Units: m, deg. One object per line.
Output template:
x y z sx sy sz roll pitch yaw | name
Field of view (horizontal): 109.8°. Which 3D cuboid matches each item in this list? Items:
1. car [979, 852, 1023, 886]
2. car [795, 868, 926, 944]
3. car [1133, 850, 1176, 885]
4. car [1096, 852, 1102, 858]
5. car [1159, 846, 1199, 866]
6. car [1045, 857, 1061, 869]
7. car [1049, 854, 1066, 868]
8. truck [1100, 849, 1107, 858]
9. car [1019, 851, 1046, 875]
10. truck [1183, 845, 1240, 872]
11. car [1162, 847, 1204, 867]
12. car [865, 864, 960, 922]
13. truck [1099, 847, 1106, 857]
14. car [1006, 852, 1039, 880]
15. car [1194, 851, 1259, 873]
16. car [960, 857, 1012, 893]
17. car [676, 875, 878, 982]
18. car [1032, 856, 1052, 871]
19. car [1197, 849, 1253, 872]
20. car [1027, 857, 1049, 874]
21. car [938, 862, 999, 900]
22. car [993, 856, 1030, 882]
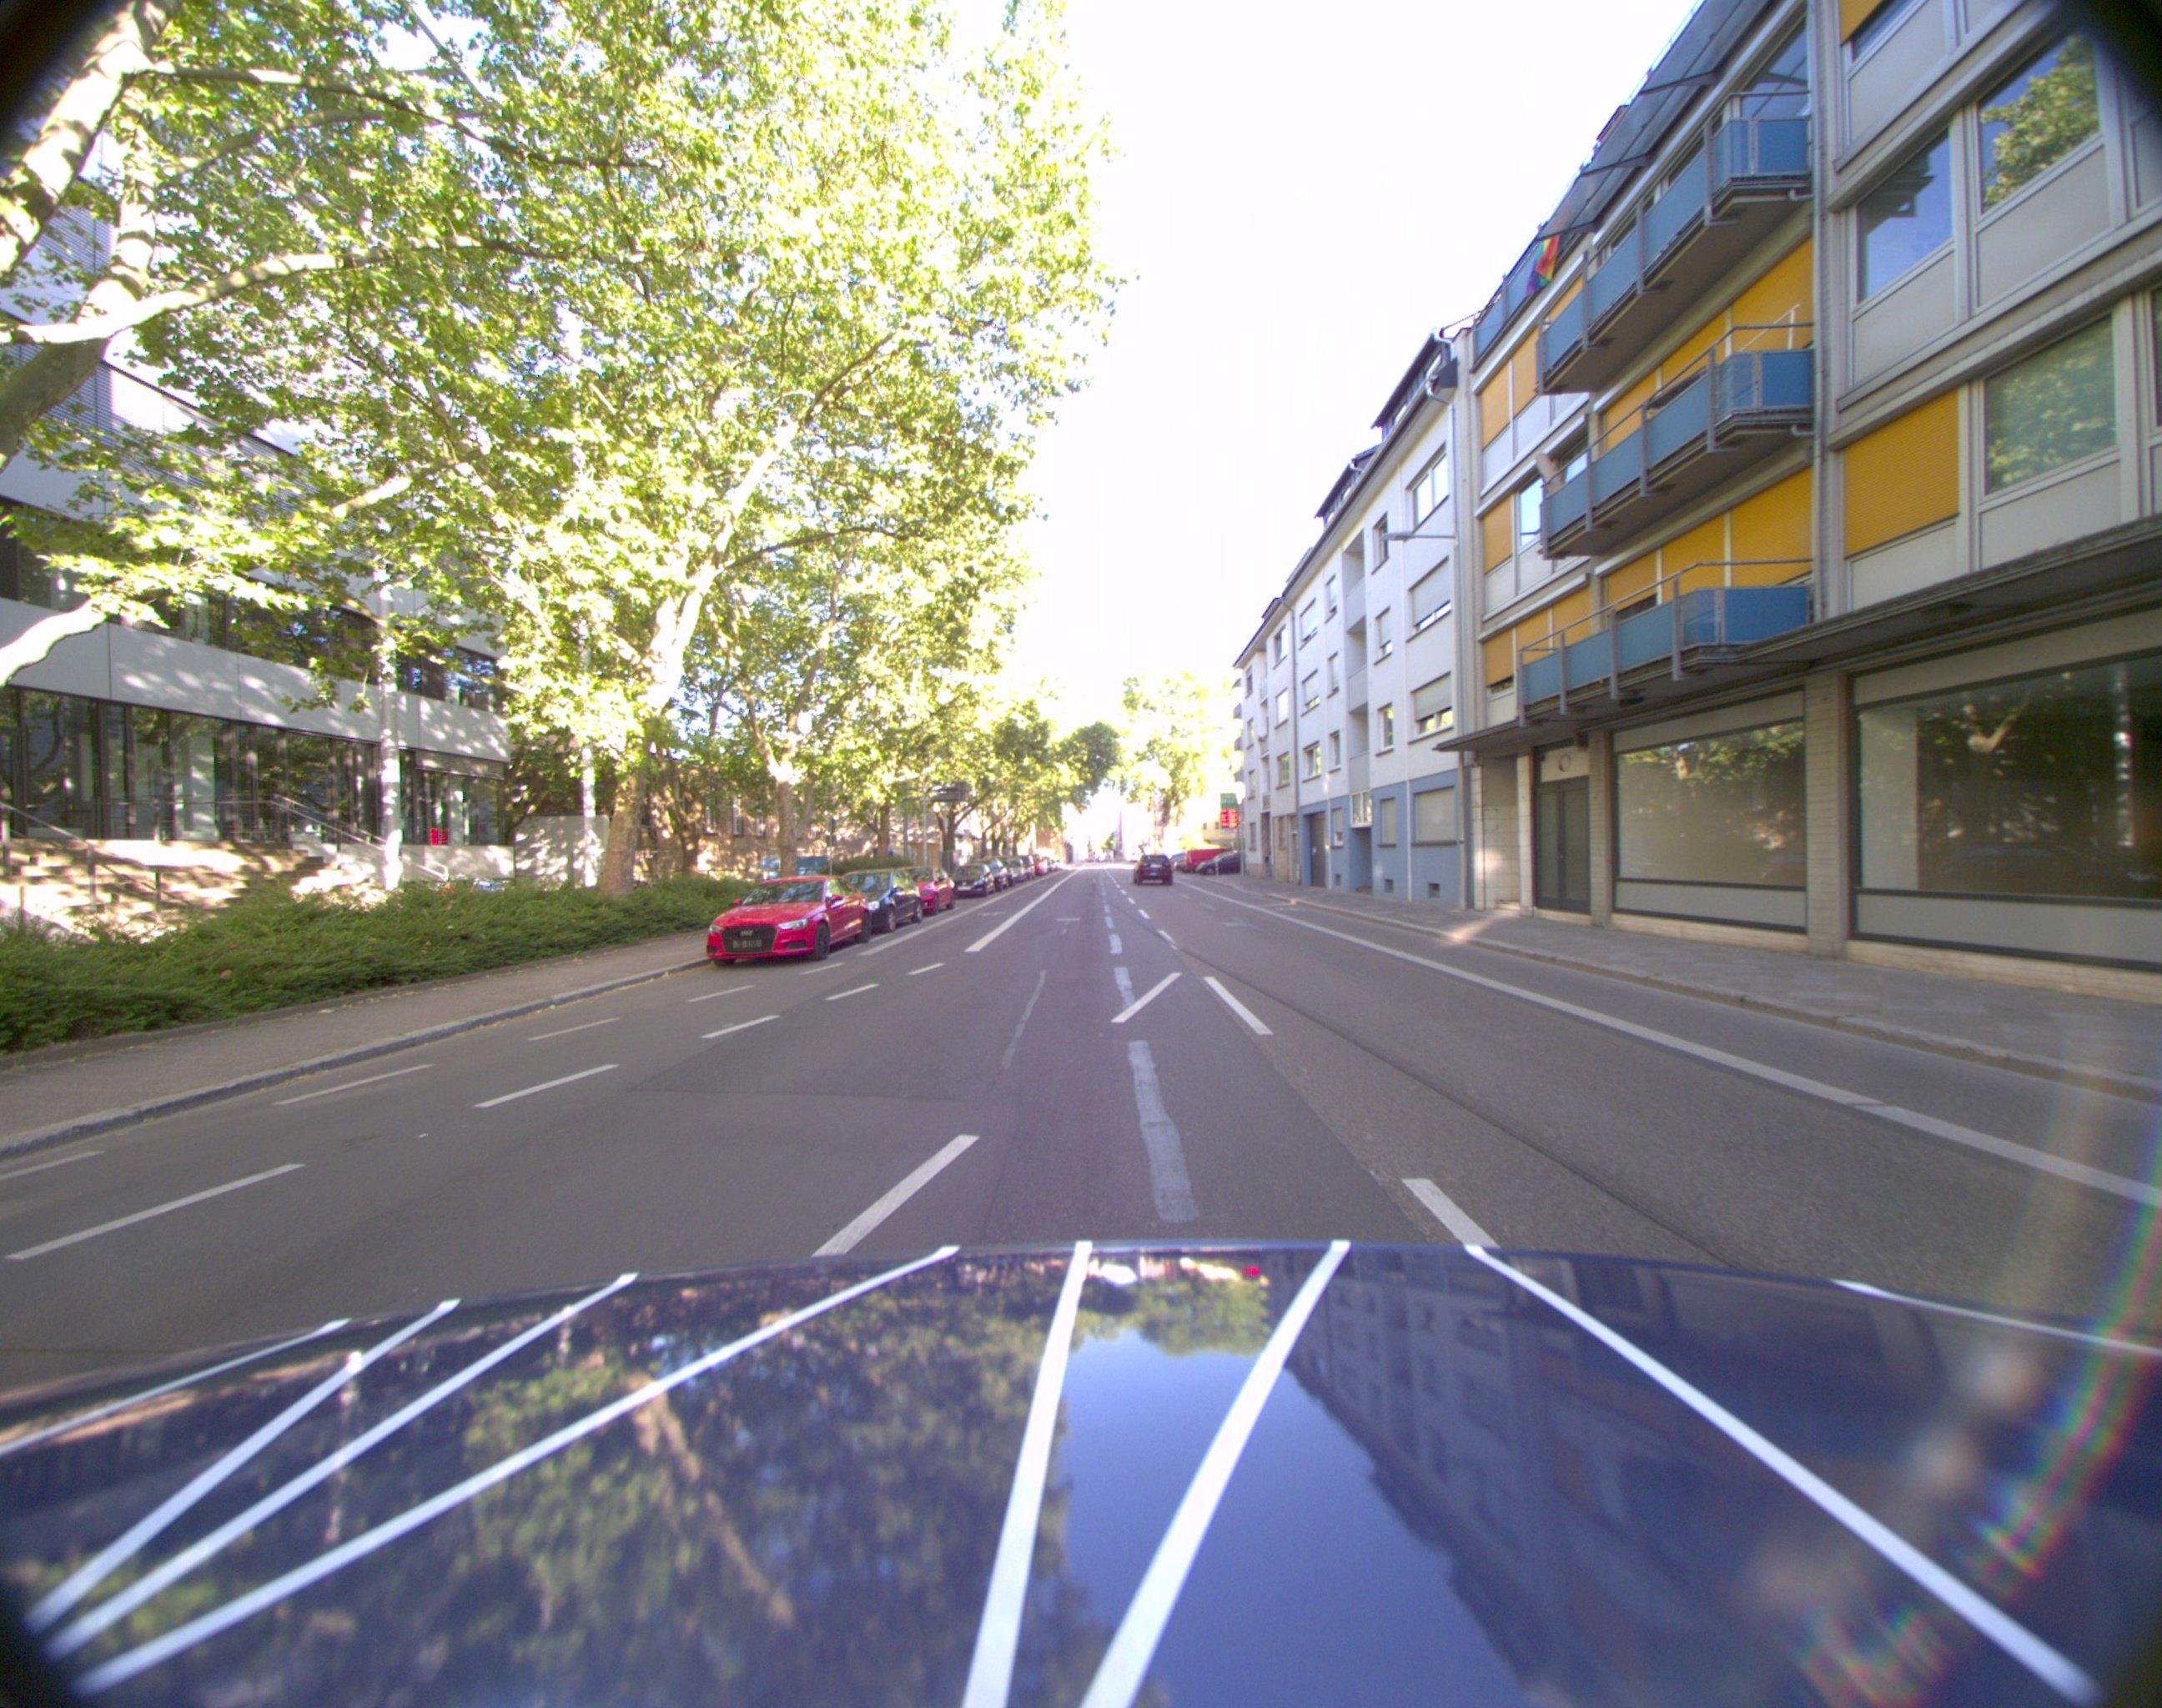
-4.609 0.843 44.499 1.998 1.777 4.572 -2 1 1 | car
-5.172 1.169 18.371 1.998 1.452 3.644 -2 1 1 | car
3.757 0.647 39.187 1.847 1.668 3.999 -1 1 1 | car
6.158 0.219 259.438 1.998 2.002 3.999 -2 1 1 | car
10.947 0.225 85.296 4.236 2.025 2.000 -2 1 3 | car
-3.349 1.080 92.720 1.693 1.364 3.999 -2 1 1 | car
-3.188 0.918 102.991 1.998 1.682 3.999 -2 1 1 | car
6.870 -0.271 233.806 1.998 2.653 5.314 -2 1 0 | truck
-4.226 0.741 66.302 1.998 1.960 3.999 -2 1 1 | car
10.285 0.325 60.200 4.092 1.913 2.000 -2 1 0 | truck
10.861 0.291 80.896 4.236 1.945 2.000 -2 1 3 | car
-5.129 1.151 23.650 1.998 1.490 3.828 -2 1 1 | car
6.818 -0.632 241.794 1.998 3.202 5.314 -2 1 0 | truck
-4.259 0.850 55.629 1.998 1.838 3.999 -2 1 1 | car
10.454 0.577 54.766 4.324 1.398 1.658 -2 1 0 | car
-4.685 1.009 38.100 1.998 1.592 4.142 -2 1 1 | car
-5.188 1.197 13.620 1.907 1.417 3.999 -2 1 1 | car
-4.140 0.996 80.732 1.824 1.466 3.999 -2 1 1 | car
10.800 0.455 57.098 3.810 1.563 1.658 -2 1 0 | car
-4.038 1.089 71.980 1.824 1.466 3.999 -2 1 1 | car
-4.839 1.134 33.162 1.998 1.447 3.589 -2 1 1 | car
-4.574 0.978 50.840 1.998 1.557 4.142 -2 1 1 | car
